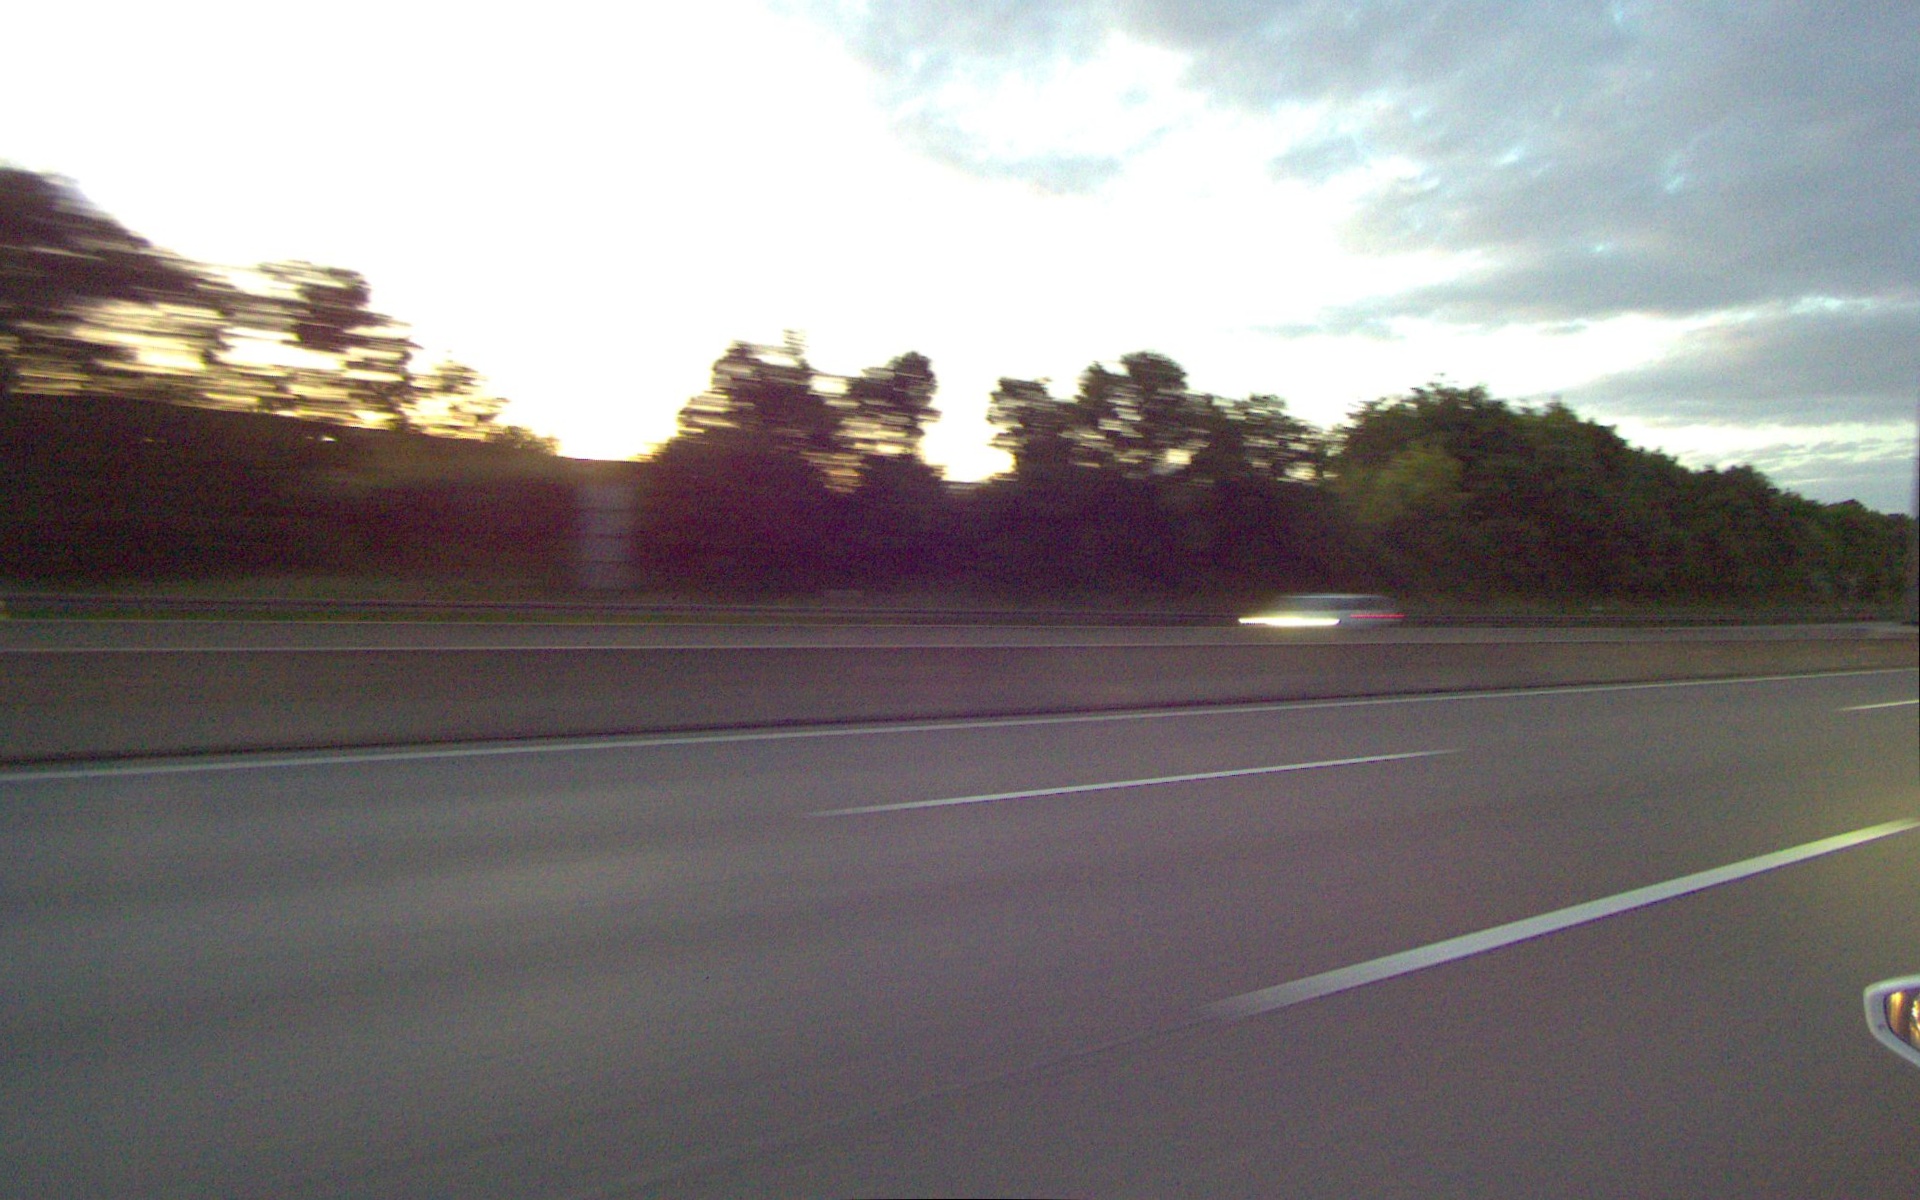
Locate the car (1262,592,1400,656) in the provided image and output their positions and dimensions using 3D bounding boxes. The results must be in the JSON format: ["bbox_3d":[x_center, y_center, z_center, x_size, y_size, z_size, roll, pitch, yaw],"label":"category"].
[{"bbox_3d":[12.613,0.817,34.081,4.629,1.918,1.982,3,0,-33],"label":"car"}]
